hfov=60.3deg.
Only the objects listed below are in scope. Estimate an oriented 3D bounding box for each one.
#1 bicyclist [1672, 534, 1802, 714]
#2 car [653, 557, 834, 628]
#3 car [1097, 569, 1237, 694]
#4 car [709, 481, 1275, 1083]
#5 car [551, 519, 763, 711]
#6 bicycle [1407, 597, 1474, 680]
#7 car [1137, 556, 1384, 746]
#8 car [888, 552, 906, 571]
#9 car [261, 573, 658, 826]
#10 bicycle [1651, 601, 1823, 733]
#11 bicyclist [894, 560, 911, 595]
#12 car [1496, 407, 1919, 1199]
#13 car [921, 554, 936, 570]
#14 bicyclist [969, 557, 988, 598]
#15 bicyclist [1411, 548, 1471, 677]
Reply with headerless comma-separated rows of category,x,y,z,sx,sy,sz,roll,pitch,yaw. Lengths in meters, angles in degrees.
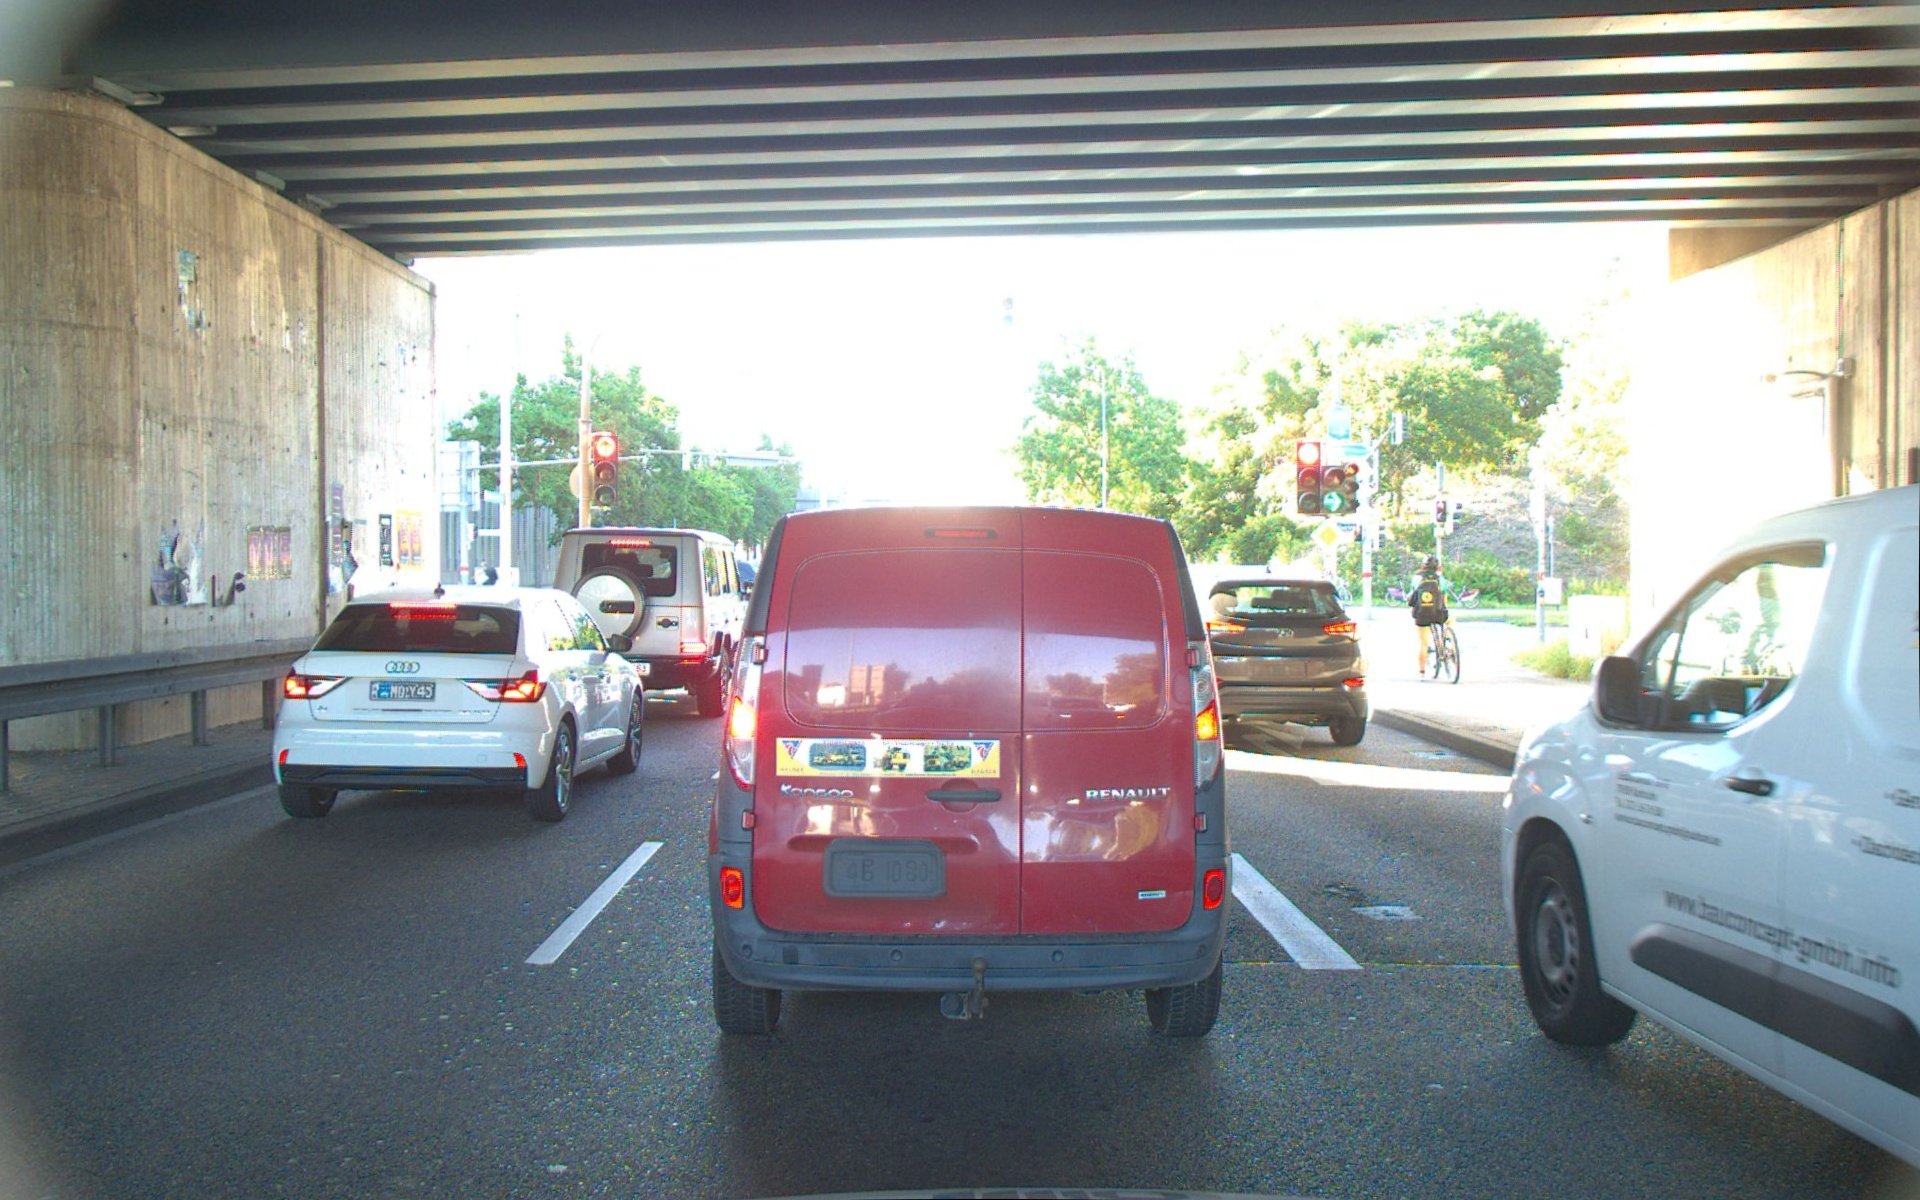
bicyclist,6.977,0.211,14.892,0.681,1.550,0.909,-2,0,-1
car,-5.376,-0.172,41.530,4.259,1.635,1.999,1,0,-1
car,2.858,0.379,23.477,1.618,1.579,3.865,1,1,2
car,0.072,0.540,6.993,1.684,1.795,3.999,1,0,-1
car,-3.325,0.144,18.828,1.777,1.937,3.812,1,0,-2
bicycle,6.298,0.489,21.742,0.662,1.042,1.530,1,0,10
car,2.888,0.432,16.707,1.741,1.684,3.990,0,1,-1
car,-7.050,-4.295,185.092,1.953,2.049,3.999,1,0,-1
car,-3.236,0.565,11.459,1.658,1.435,3.812,1,0,-2
bicycle,6.976,0.570,14.942,0.687,1.076,1.760,-2,1,-1
bicyclist,-2.246,-0.873,64.448,0.640,1.352,0.602,1,0,-4
car,2.962,0.519,3.983,1.777,1.865,4.299,1,1,-2
car,-4.152,-5.059,220.659,1.953,2.049,3.999,1,0,-1
bicyclist,0.716,-0.873,63.875,0.739,1.569,0.696,0,0,0
bicyclist,6.311,0.163,21.734,0.663,1.657,0.644,1,0,10
